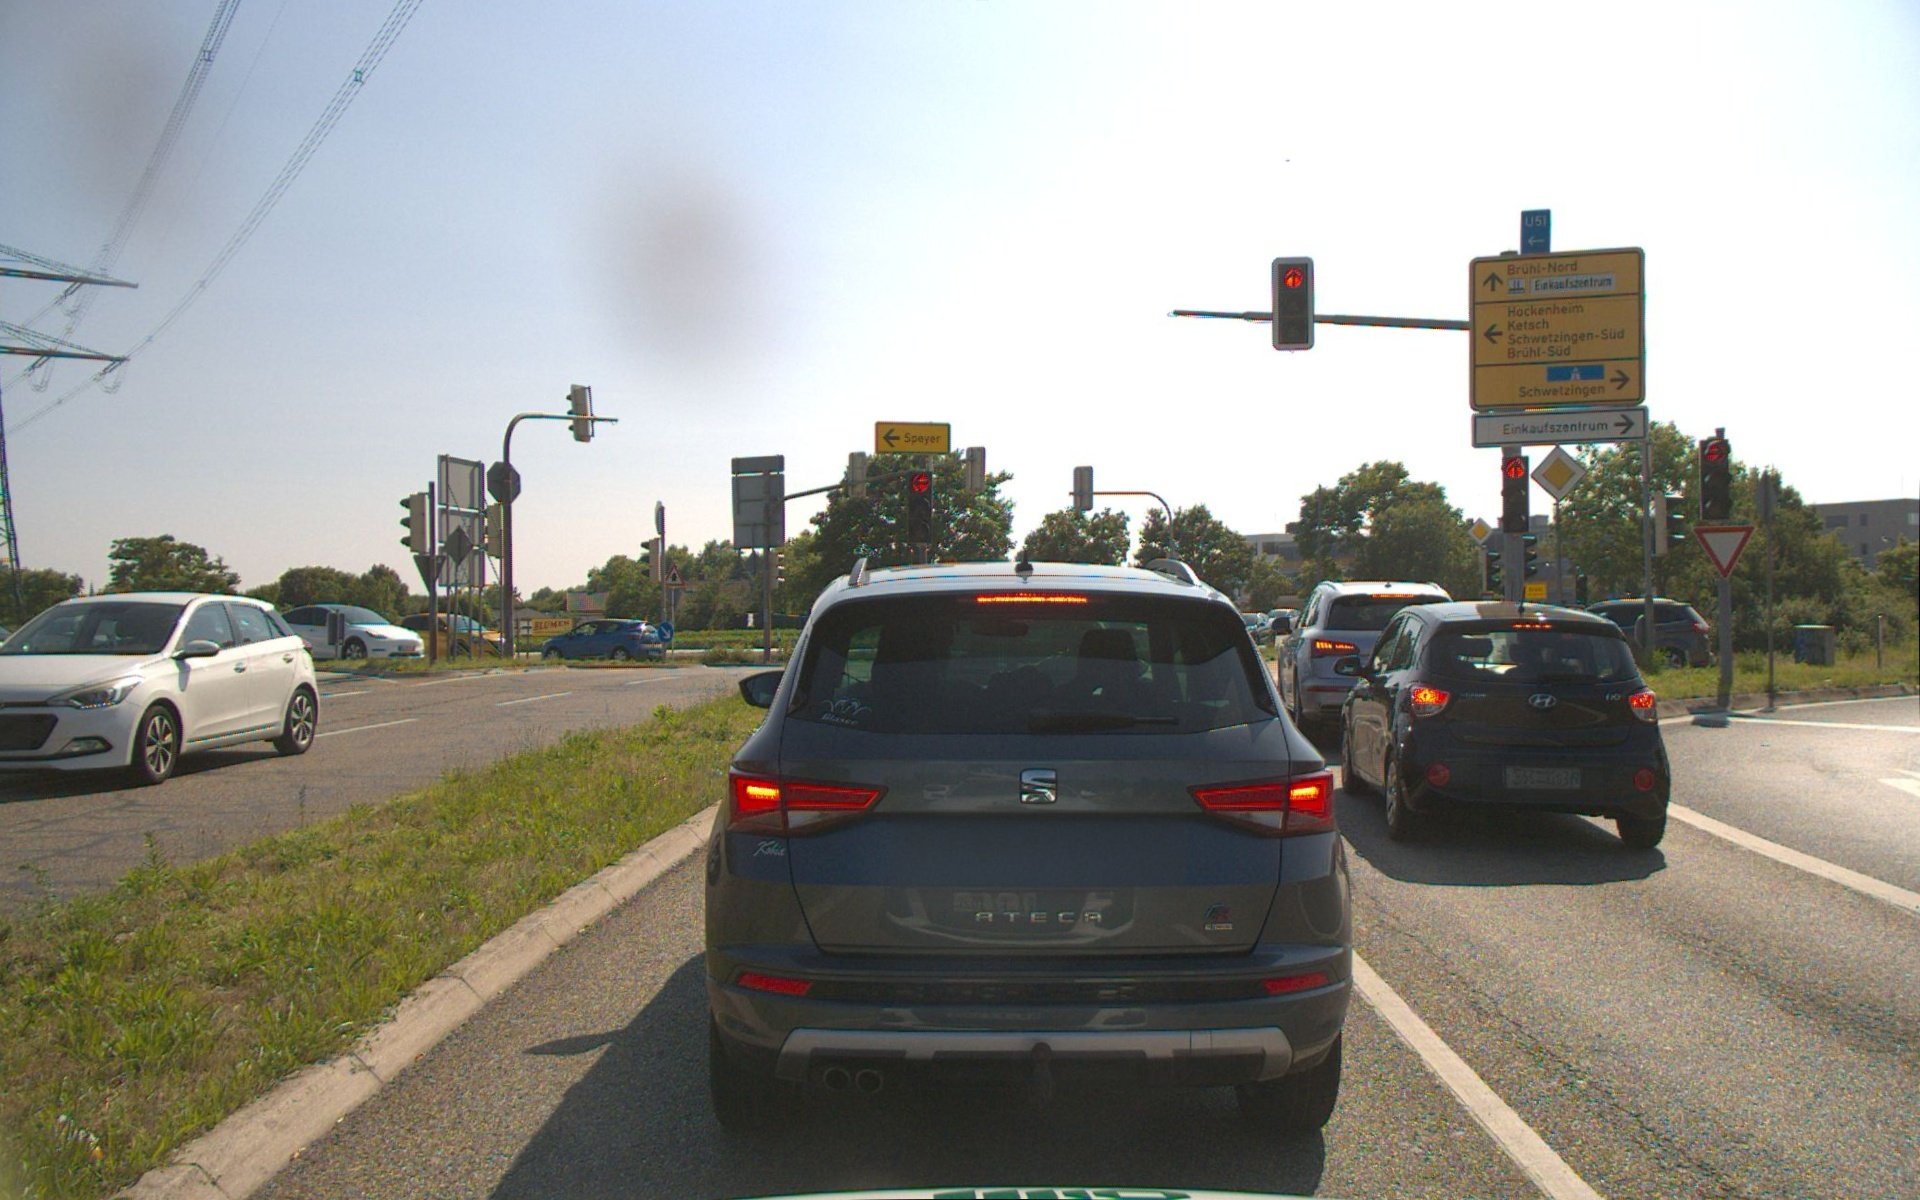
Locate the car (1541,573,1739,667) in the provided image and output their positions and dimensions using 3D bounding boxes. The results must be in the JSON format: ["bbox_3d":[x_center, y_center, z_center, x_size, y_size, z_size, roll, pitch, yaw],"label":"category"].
[{"bbox_3d":[15.009,0.439,36.540,3.929,1.987,1.694,0,-1,27],"label":"car"}]

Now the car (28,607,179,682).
[{"bbox_3d":[-20.394,1.024,39.322,3.924,1.680,1.811,-1,-1,39],"label":"car"}]

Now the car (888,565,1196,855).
[{"bbox_3d":[0.469,0.631,11.138,1.706,1.596,3.624,1,0,0],"label":"car"}]

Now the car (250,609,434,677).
[{"bbox_3d":[-15.966,1.084,42.705,4.653,1.680,1.818,0,-1,27],"label":"car"}]

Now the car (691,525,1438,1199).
[{"bbox_3d":[0.222,0.652,5.648,1.706,1.596,3.623,1,0,-1],"label":"car"}]

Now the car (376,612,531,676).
[{"bbox_3d":[-13.879,1.174,45.322,3.910,1.680,1.818,-1,0,27],"label":"car"}]

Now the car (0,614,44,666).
[{"bbox_3d":[-32.663,1.330,55.172,3.910,1.680,1.818,-1,0,27],"label":"car"}]

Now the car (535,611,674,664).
[{"bbox_3d":[-10.786,1.124,50.158,3.789,1.545,1.807,-1,0,23],"label":"car"}]

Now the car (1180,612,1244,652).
[{"bbox_3d":[11.324,1.414,74.111,1.839,1.702,3.767,1,0,25],"label":"car"}]

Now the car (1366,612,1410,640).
[{"bbox_3d":[26.994,1.623,104.194,1.841,1.702,3.765,1,0,28],"label":"car"}]

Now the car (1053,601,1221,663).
[{"bbox_3d":[4.550,0.817,42.623,3.944,1.545,1.806,-1,0,25],"label":"car"}]

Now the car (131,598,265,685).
[{"bbox_3d":[-15.786,0.813,34.168,1.800,1.680,3.949,0,0,-36],"label":"car"}]

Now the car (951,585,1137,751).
[{"bbox_3d":[0.922,0.648,17.266,1.705,1.510,3.626,1,0,4],"label":"car"}]

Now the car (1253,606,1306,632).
[{"bbox_3d":[18.916,1.131,97.878,1.689,1.524,3.756,1,0,35],"label":"car"}]

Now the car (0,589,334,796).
[{"bbox_3d":[-6.925,0.669,13.889,1.682,1.490,3.913,0,0,3],"label":"car"}]

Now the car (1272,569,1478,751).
[{"bbox_3d":[4.297,0.574,17.614,1.598,1.706,3.752,1,0,6],"label":"car"}]

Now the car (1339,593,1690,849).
[{"bbox_3d":[3.632,0.706,11.375,1.598,1.473,3.297,1,0,6],"label":"car"}]
